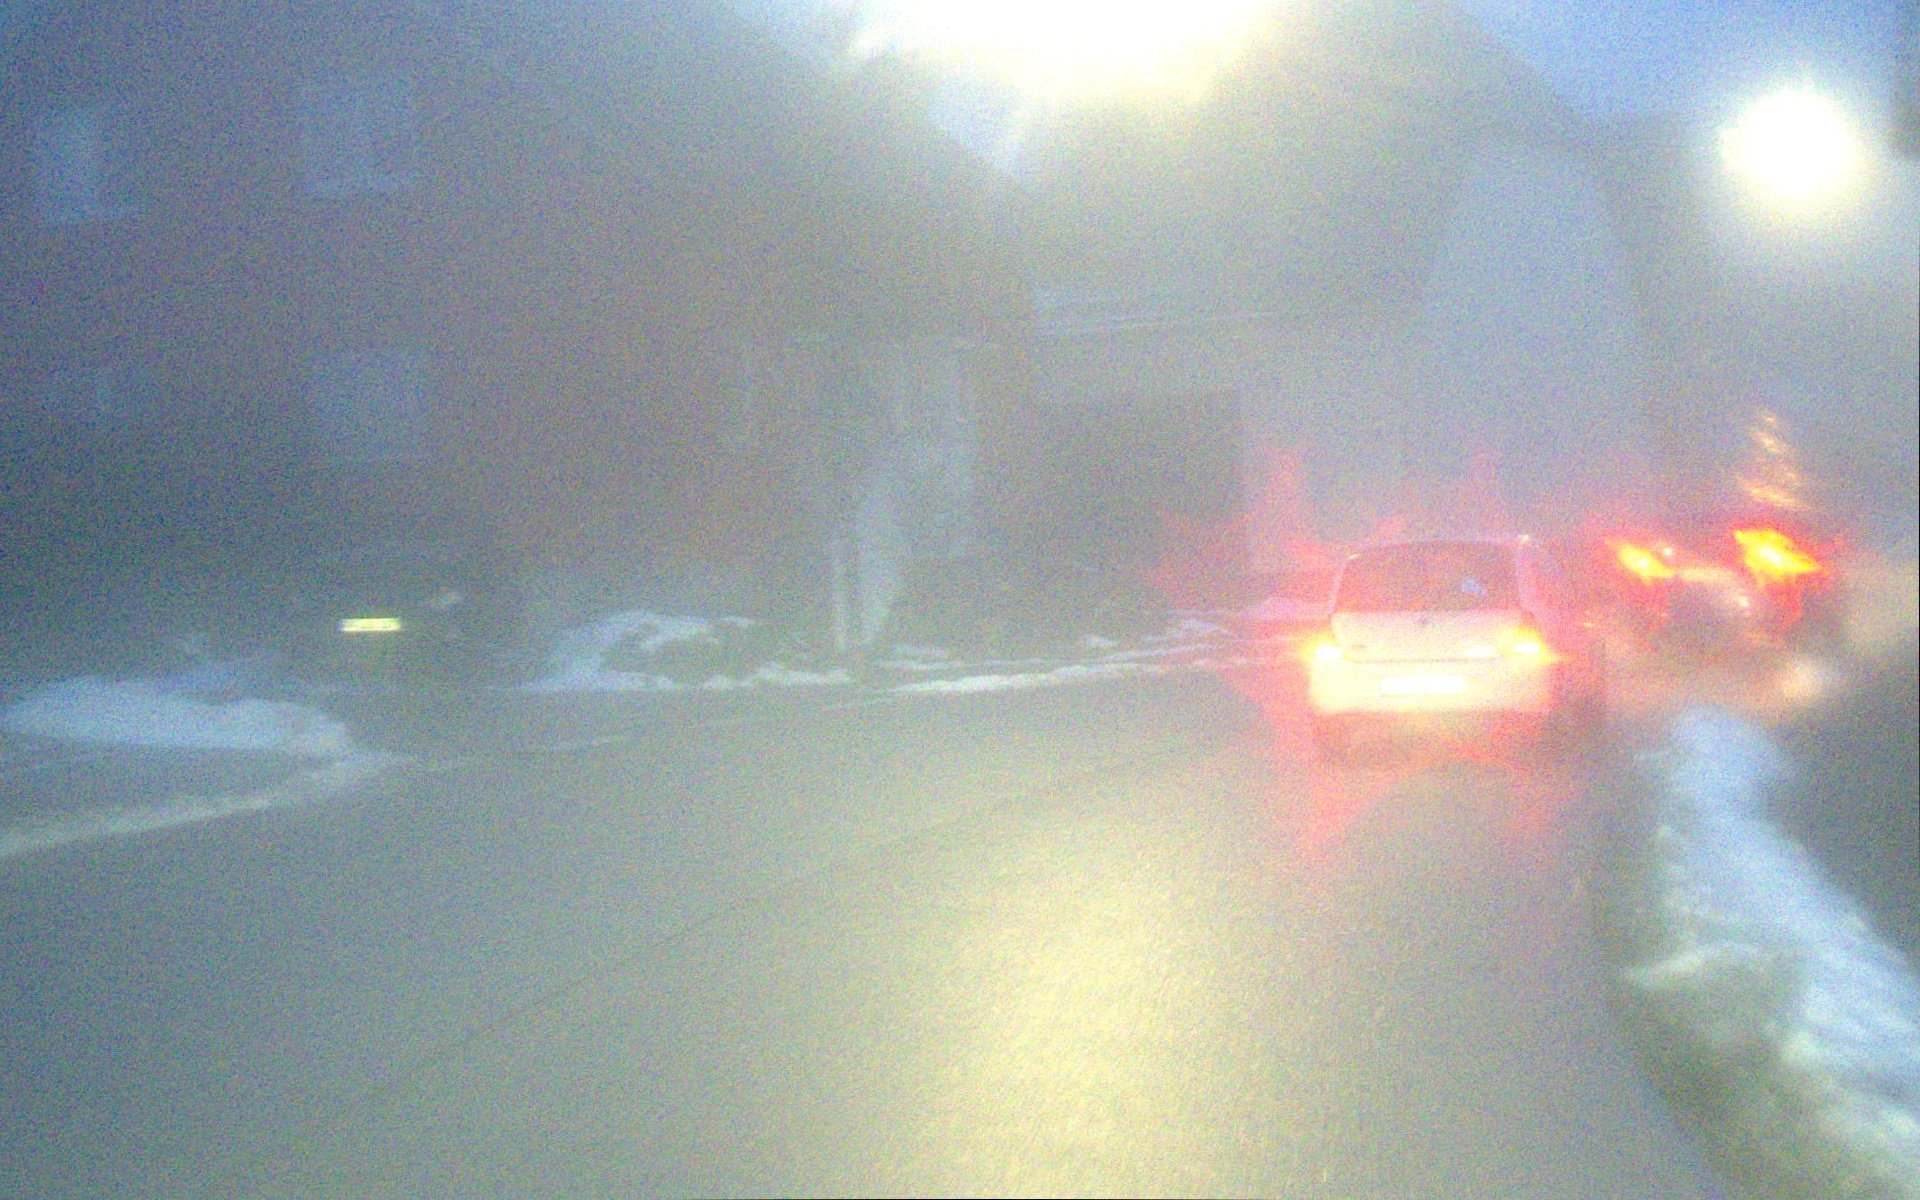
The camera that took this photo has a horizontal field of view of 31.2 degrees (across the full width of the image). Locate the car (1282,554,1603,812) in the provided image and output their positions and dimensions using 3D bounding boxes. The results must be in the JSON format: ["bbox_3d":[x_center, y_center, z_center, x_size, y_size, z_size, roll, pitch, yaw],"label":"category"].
[{"bbox_3d":[3.322,0.500,23.157,1.646,1.590,3.697,0,0,16],"label":"car"}]

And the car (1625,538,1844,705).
[{"bbox_3d":[7.887,0.191,34.800,1.647,1.590,3.695,0,0,21],"label":"car"}]

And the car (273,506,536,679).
[{"bbox_3d":[-5.081,-0.065,31.925,1.873,1.499,4.000,0,0,-1],"label":"car"}]
